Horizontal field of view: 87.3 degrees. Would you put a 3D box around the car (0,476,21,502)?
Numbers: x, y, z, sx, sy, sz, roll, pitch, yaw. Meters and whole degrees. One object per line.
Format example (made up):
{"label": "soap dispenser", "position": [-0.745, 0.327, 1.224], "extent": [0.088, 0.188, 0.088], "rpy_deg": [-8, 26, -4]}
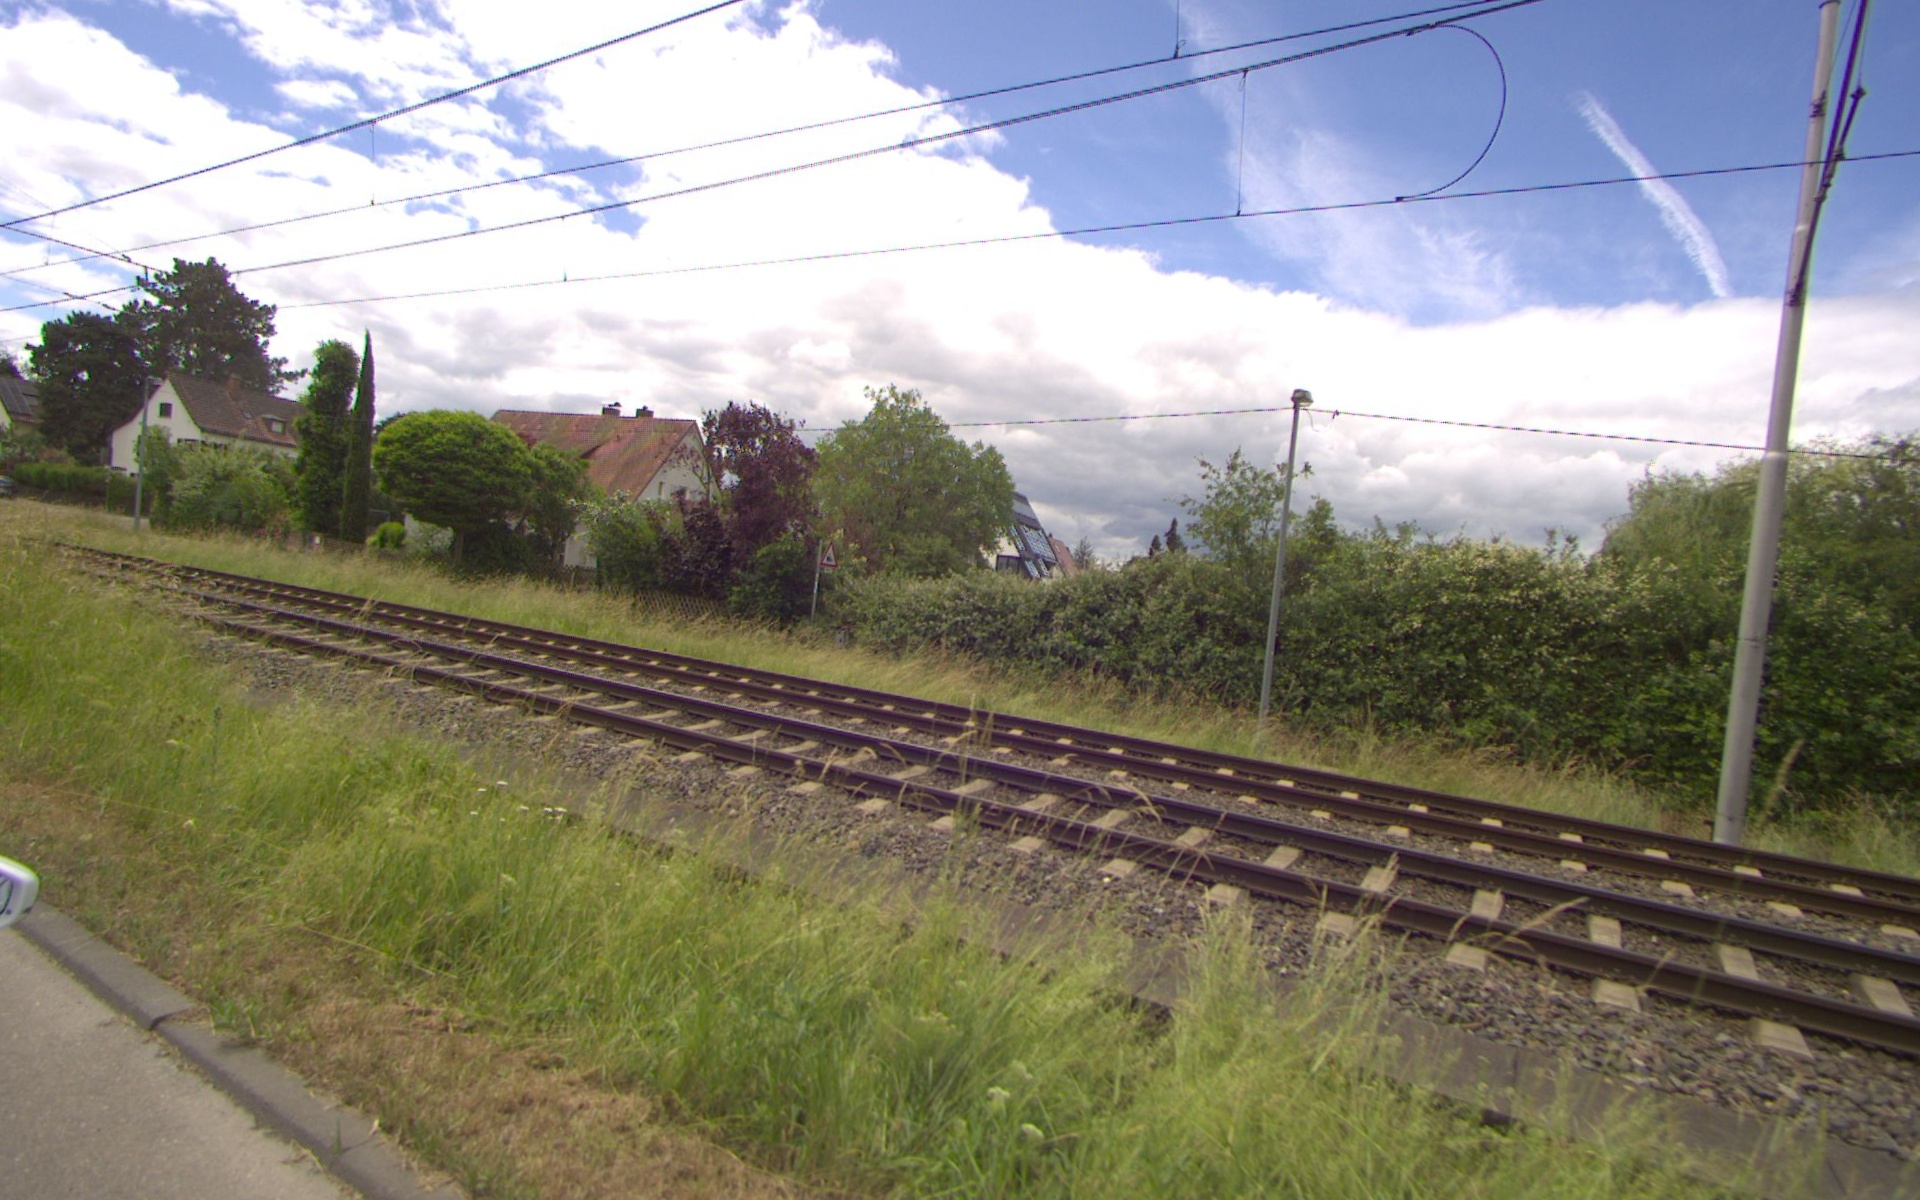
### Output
{"label": "car", "position": [-63.188, -7.399, 65.592], "extent": [3.934, 1.541, 1.884], "rpy_deg": [7, 1, 32]}
